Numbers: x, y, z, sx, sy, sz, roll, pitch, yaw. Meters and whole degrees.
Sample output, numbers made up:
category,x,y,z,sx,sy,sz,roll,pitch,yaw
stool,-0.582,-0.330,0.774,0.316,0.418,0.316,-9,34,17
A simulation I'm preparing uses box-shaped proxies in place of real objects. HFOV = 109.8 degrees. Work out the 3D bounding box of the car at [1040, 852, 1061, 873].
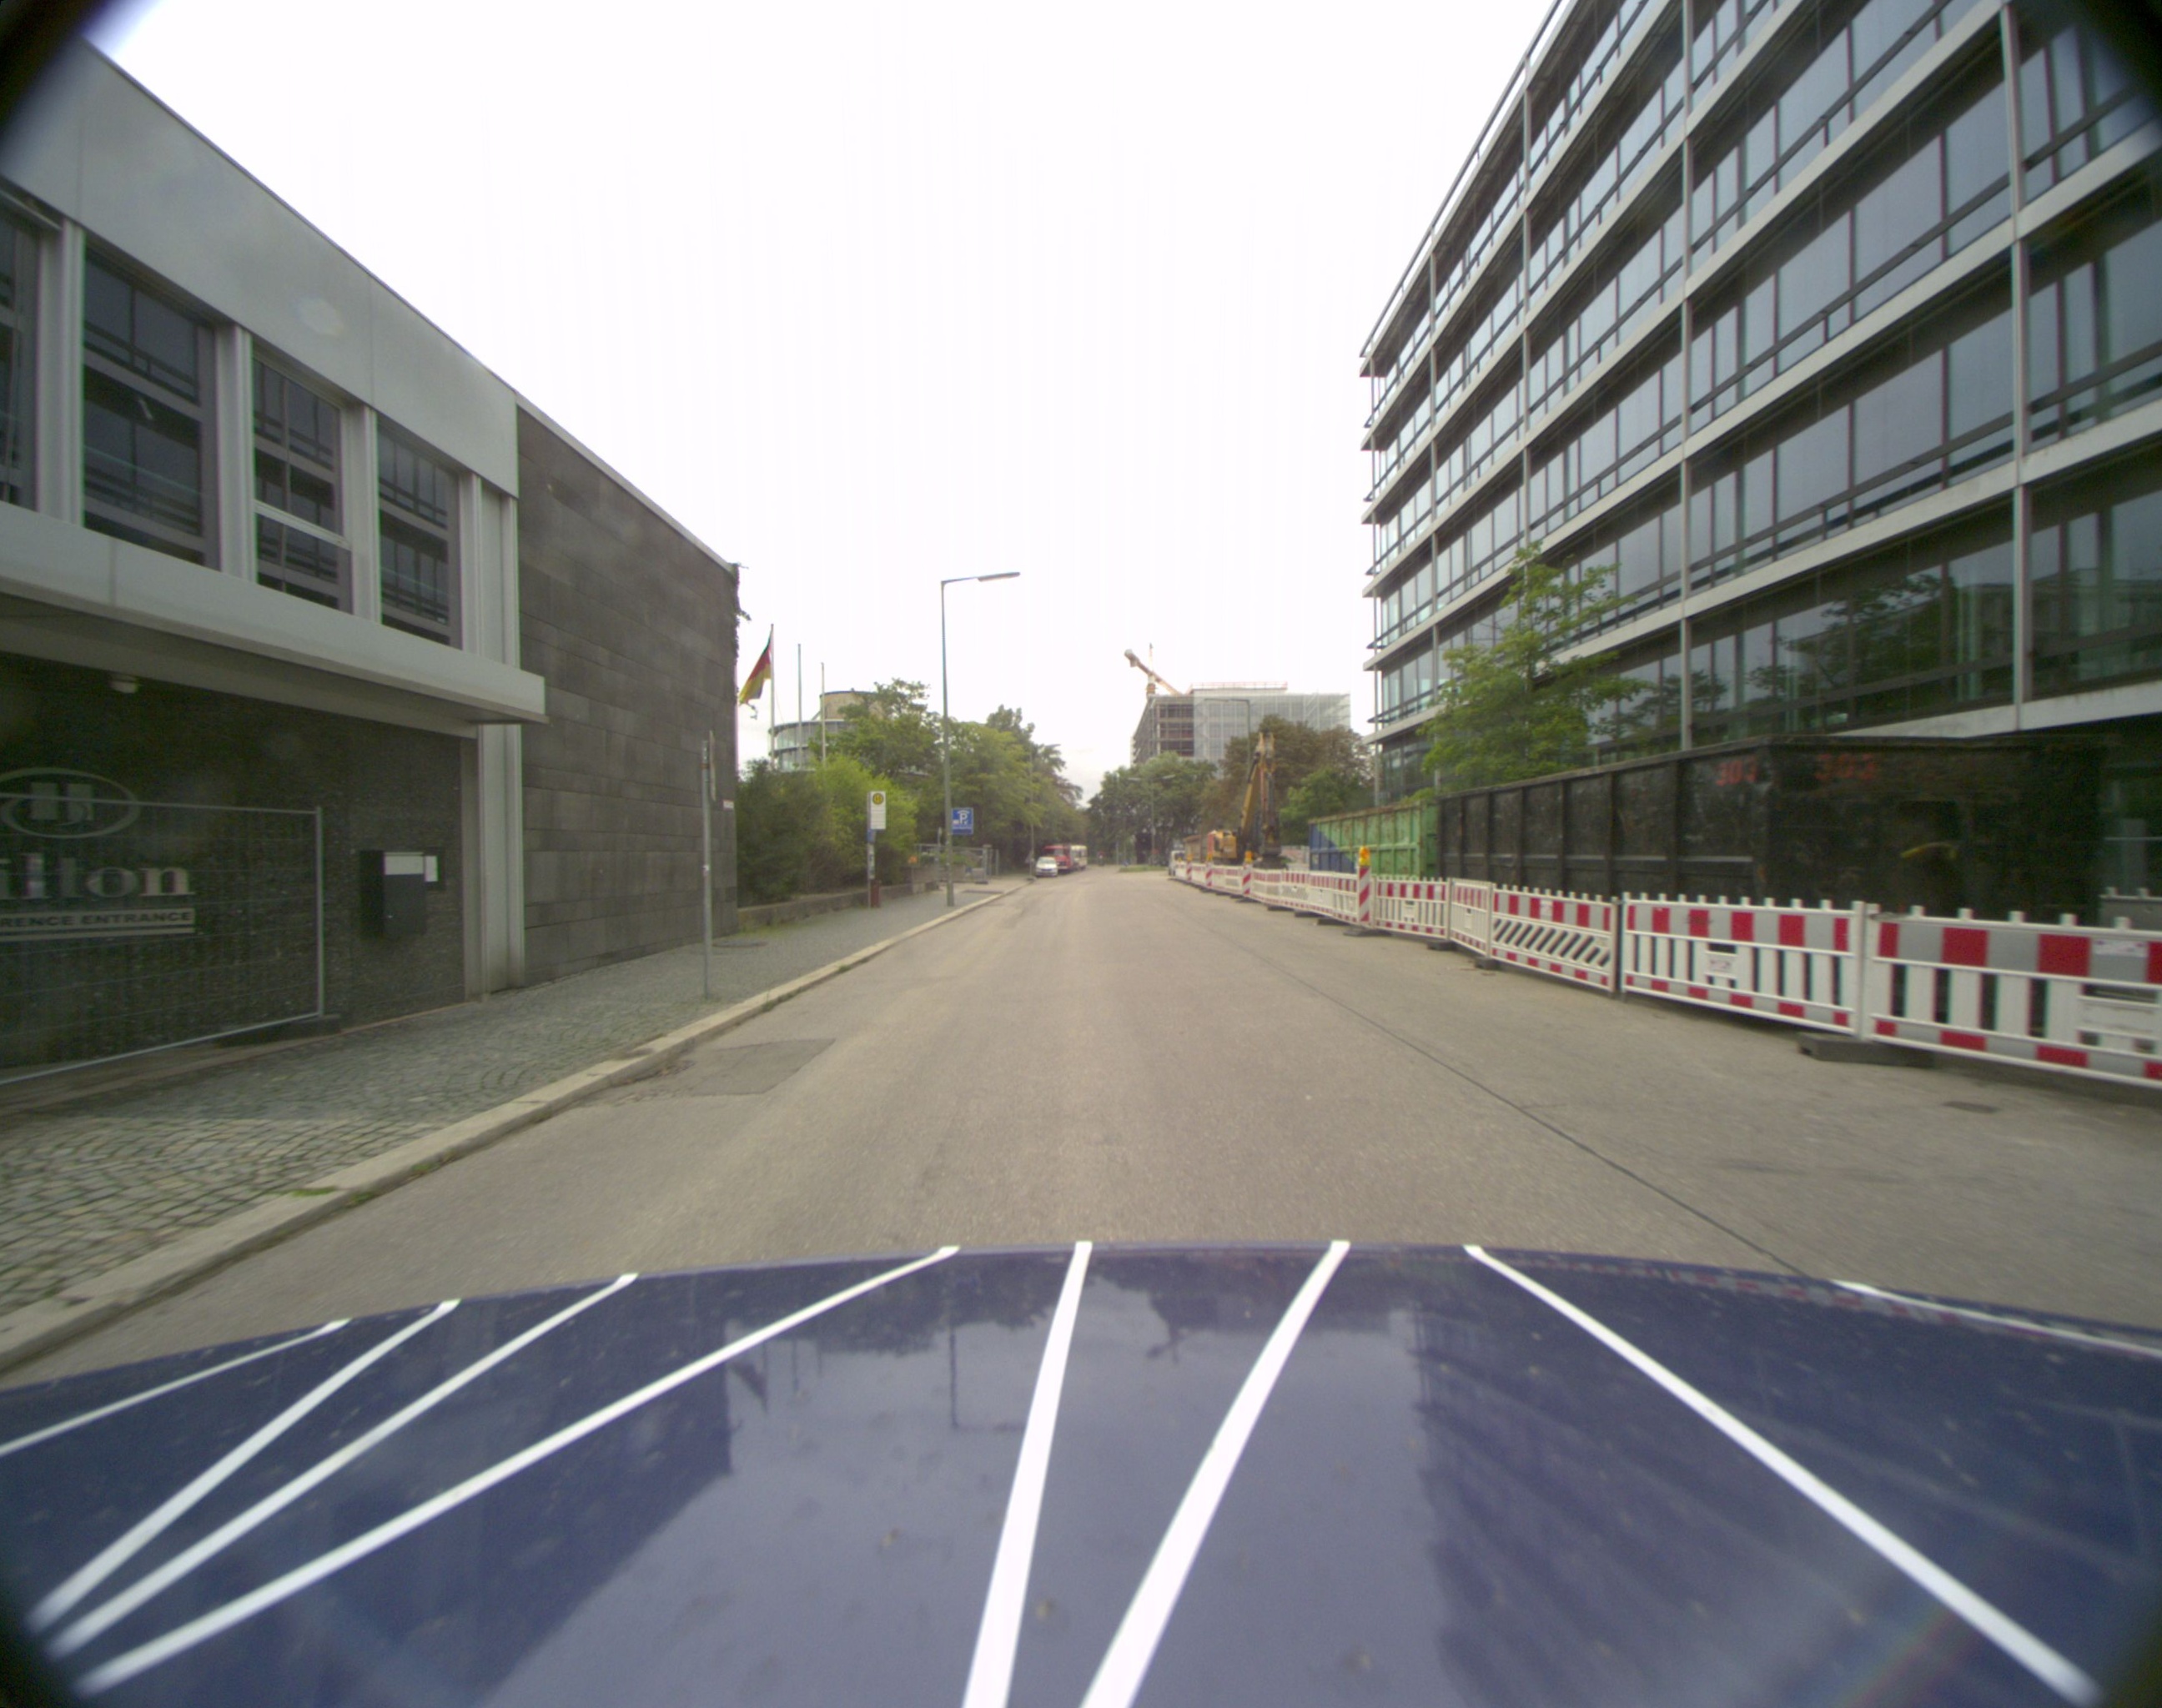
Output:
category,x,y,z,sx,sy,sz,roll,pitch,yaw
car,-2.322,0.637,58.577,1.536,1.483,4.059,0,1,-2

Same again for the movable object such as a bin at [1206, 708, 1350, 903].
category,x,y,z,sx,sy,sz,roll,pitch,yaw
movable object such as a bin,7.589,-1.669,31.457,2.911,6.526,11.782,0,1,0

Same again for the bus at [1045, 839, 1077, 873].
category,x,y,z,sx,sy,sz,roll,pitch,yaw
bus,-1.657,0.145,65.405,2.077,2.789,6.274,0,0,5

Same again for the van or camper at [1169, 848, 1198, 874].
category,x,y,z,sx,sy,sz,roll,pitch,yaw
van or camper,8.272,0.548,61.746,1.993,2.022,5.588,1,0,4

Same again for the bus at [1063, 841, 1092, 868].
category,x,y,z,sx,sy,sz,roll,pitch,yaw
bus,-0.327,0.048,79.286,2.076,2.714,5.871,0,0,10

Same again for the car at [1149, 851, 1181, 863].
category,x,y,z,sx,sy,sz,roll,pitch,yaw
car,11.438,0.444,103.524,3.891,1.564,1.786,0,2,-22
